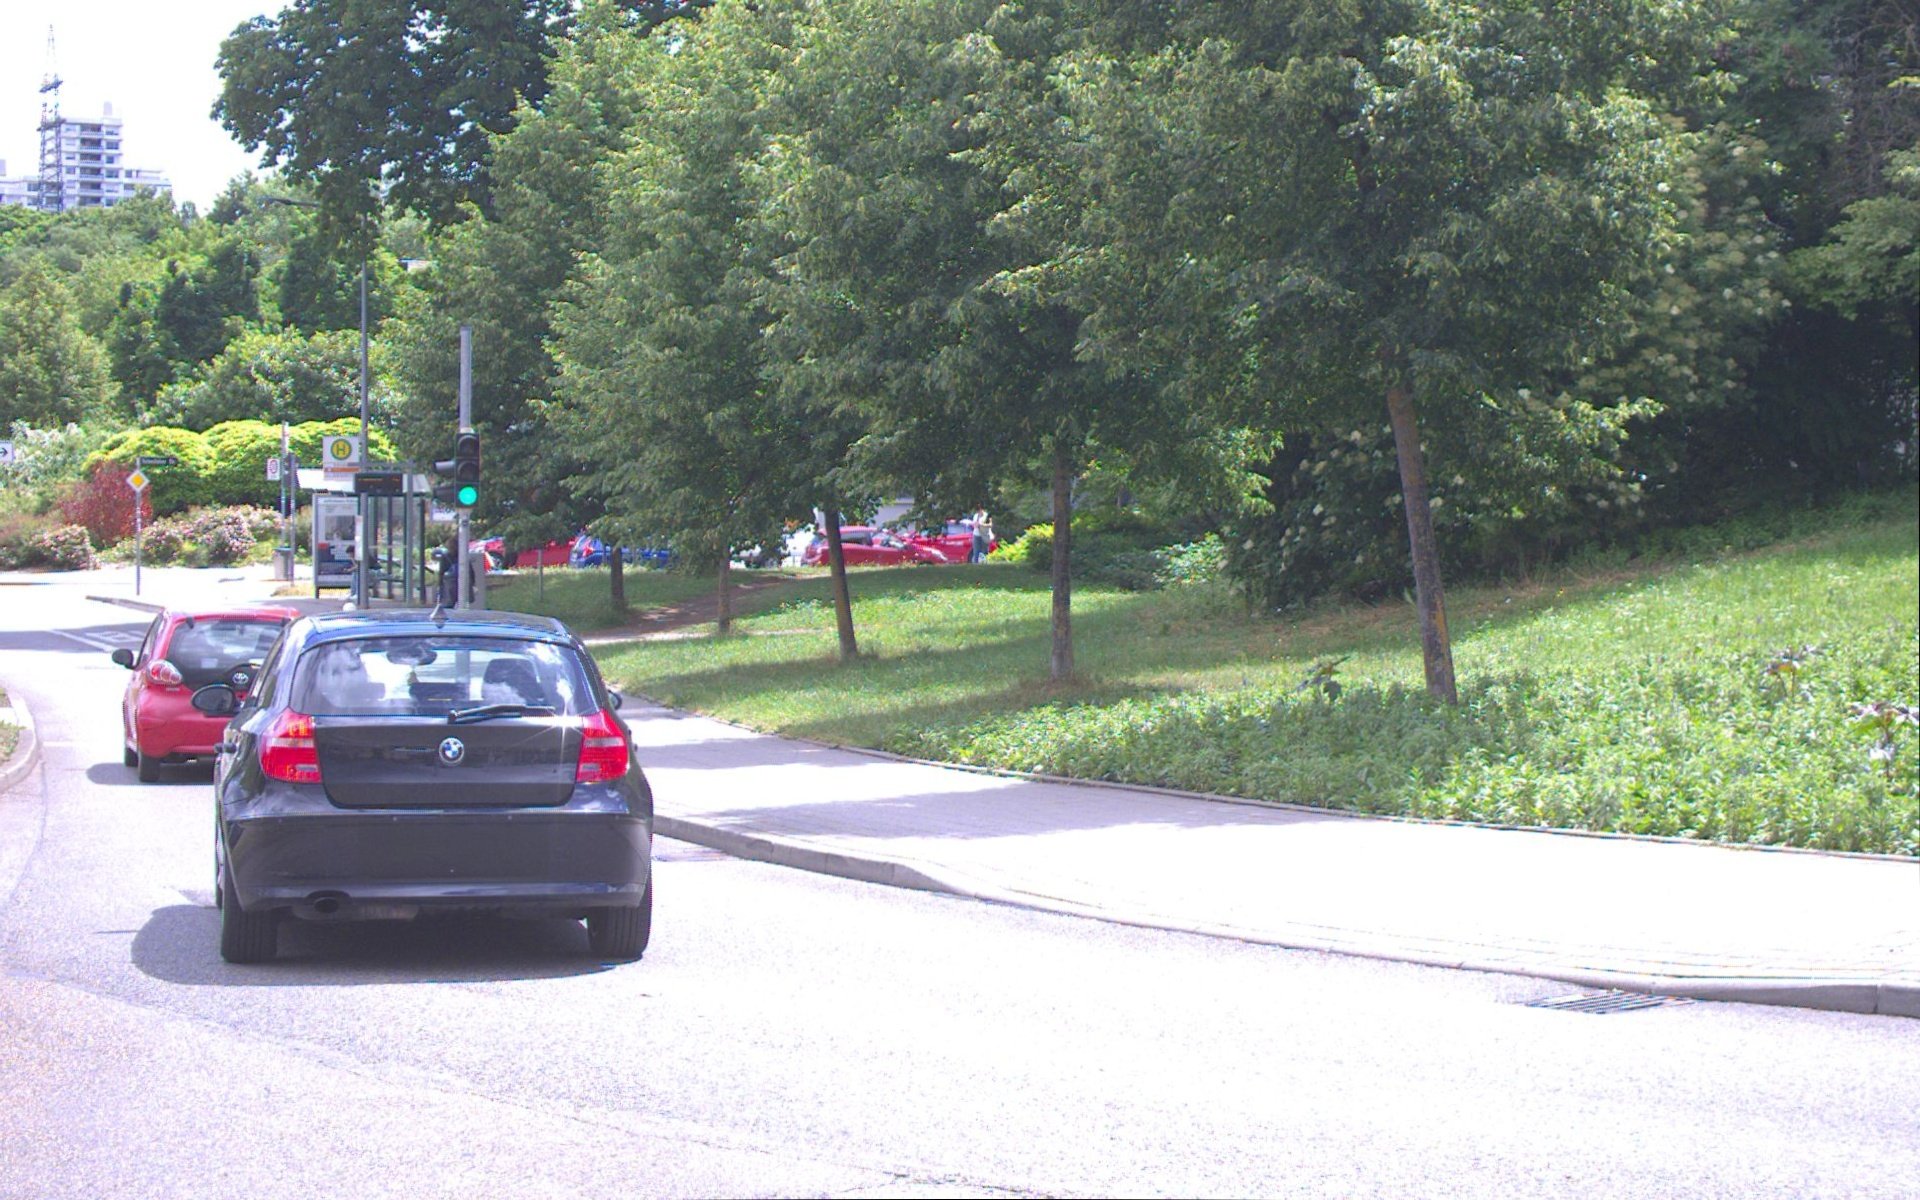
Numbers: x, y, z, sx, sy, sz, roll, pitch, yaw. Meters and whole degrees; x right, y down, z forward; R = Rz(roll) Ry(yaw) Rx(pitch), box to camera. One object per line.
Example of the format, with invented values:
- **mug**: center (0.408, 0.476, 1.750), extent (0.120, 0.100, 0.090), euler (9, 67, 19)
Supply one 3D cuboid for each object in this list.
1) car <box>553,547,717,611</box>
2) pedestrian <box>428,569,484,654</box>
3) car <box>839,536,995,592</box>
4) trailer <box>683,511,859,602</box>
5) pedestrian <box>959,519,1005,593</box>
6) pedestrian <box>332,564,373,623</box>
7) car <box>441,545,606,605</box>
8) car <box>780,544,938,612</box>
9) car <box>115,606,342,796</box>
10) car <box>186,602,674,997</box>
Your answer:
- **car**: center (-8.242, -0.537, 87.157), extent (3.792, 1.451, 1.897), euler (-2, 3, -19)
- **pedestrian**: center (-8.477, 0.185, 57.811), extent (0.819, 1.420, 0.830), euler (0, 0, -17)
- **car**: center (-1.244, -1.047, 99.291), extent (4.079, 1.497, 2.001), euler (-1, 3, -19)
- **trailer**: center (-5.392, -1.244, 97.917), extent (4.535, 2.478, 2.222), euler (0, 2, -19)
- **pedestrian**: center (0.510, -1.037, 81.383), extent (0.985, 1.754, 0.858), euler (0, 0, -7)
- **pedestrian**: center (-13.112, -0.141, 74.204), extent (0.827, 1.254, 0.686), euler (0, 1, -14)
- **car**: center (-12.135, -0.703, 95.438), extent (4.155, 1.556, 2.001), euler (0, 4, -22)
- **car**: center (-2.617, -0.573, 89.163), extent (3.685, 1.638, 1.830), euler (0, 2, -19)
- **car**: center (-6.274, 0.805, 29.272), extent (1.765, 1.427, 3.480), euler (0, 1, -14)
- **car**: center (-2.402, 0.744, 14.958), extent (1.815, 1.416, 4.001), euler (0, 1, -12)
